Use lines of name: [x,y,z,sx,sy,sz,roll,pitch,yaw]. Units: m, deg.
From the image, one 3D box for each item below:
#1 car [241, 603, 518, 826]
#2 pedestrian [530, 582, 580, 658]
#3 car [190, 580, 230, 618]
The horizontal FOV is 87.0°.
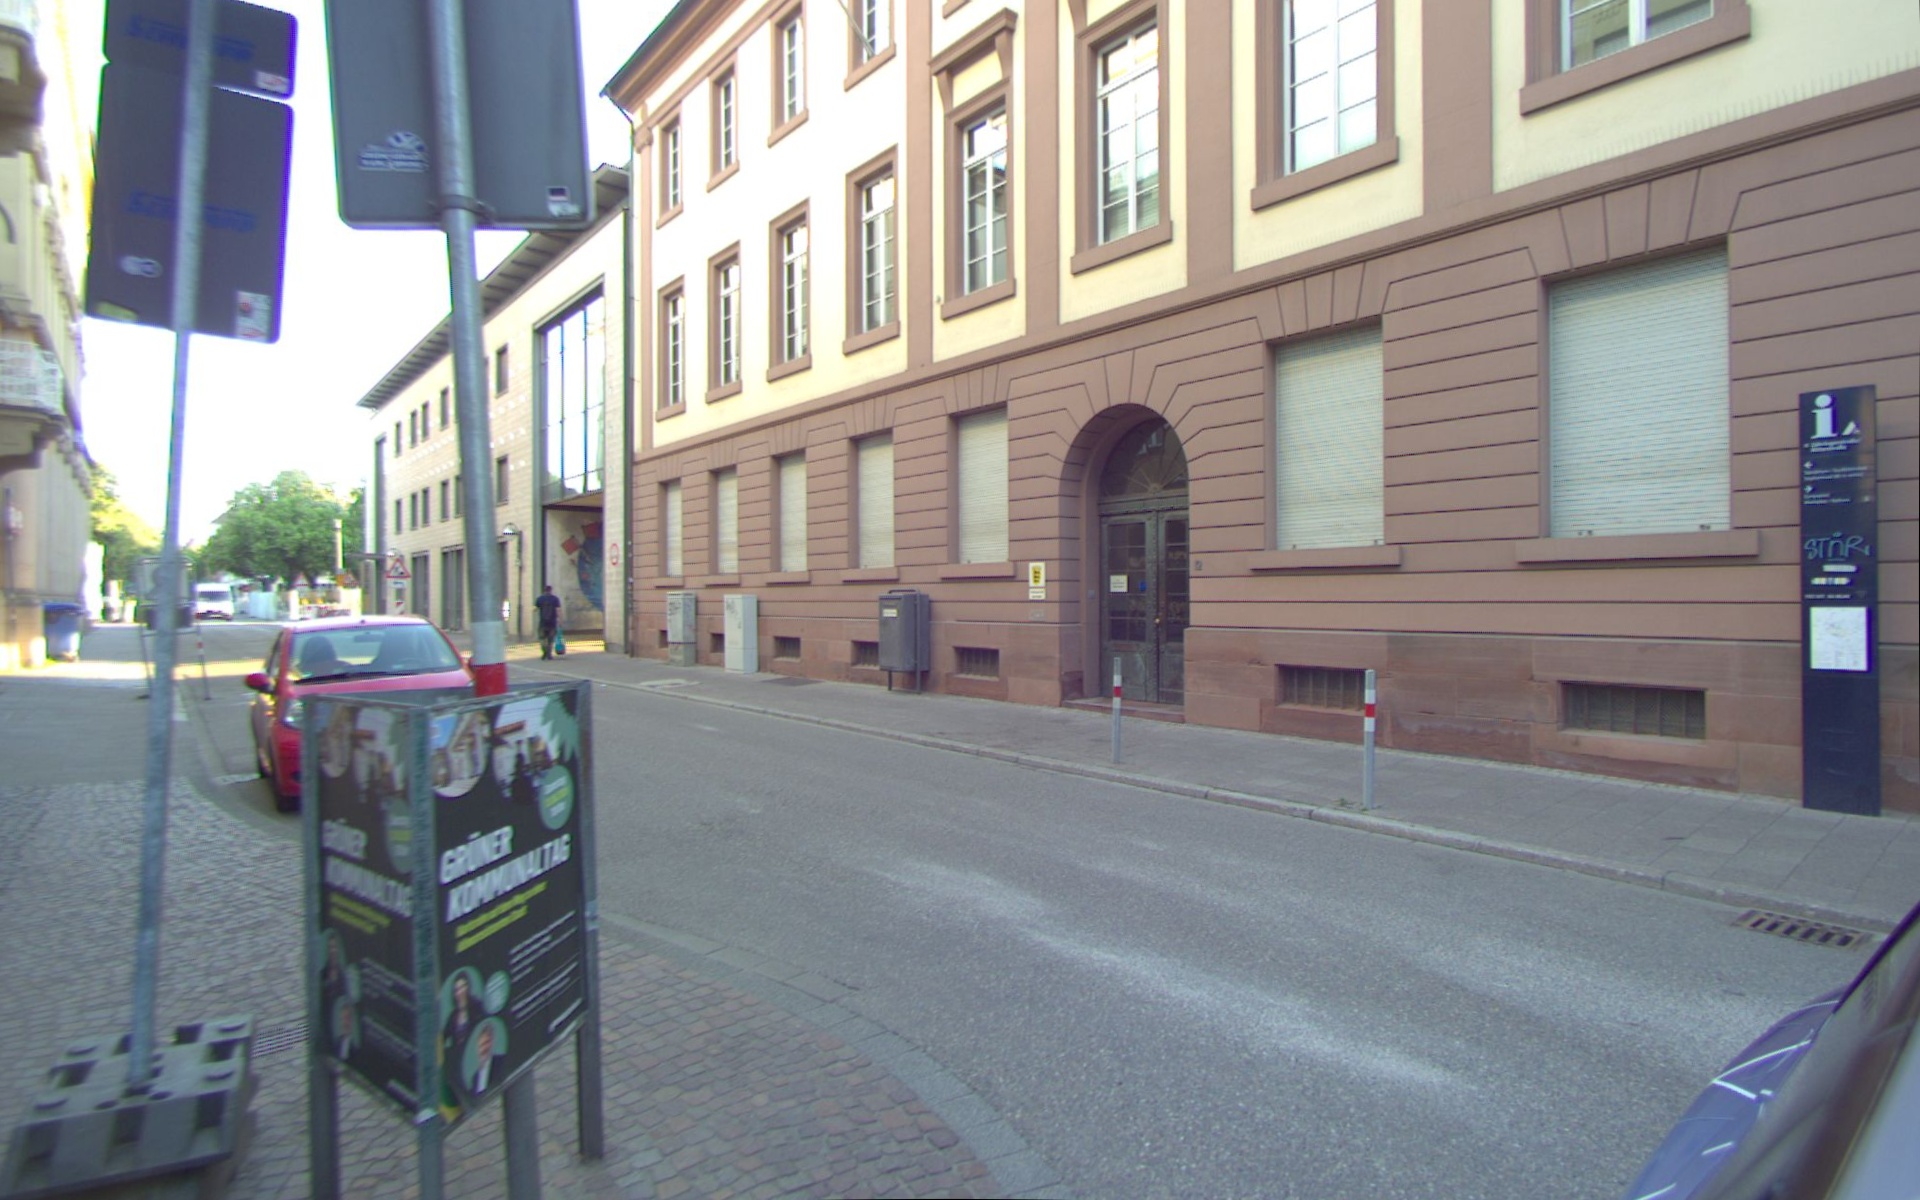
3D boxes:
car: [-5.392,0.801,9.138,1.621,1.460,3.997,-3,2,-37]
pedestrian: [-9.839,0.473,24.595,0.913,1.801,0.940,0,0,-37]
car: [-47.403,-0.099,63.993,1.904,2.334,4.000,0,0,-35]
